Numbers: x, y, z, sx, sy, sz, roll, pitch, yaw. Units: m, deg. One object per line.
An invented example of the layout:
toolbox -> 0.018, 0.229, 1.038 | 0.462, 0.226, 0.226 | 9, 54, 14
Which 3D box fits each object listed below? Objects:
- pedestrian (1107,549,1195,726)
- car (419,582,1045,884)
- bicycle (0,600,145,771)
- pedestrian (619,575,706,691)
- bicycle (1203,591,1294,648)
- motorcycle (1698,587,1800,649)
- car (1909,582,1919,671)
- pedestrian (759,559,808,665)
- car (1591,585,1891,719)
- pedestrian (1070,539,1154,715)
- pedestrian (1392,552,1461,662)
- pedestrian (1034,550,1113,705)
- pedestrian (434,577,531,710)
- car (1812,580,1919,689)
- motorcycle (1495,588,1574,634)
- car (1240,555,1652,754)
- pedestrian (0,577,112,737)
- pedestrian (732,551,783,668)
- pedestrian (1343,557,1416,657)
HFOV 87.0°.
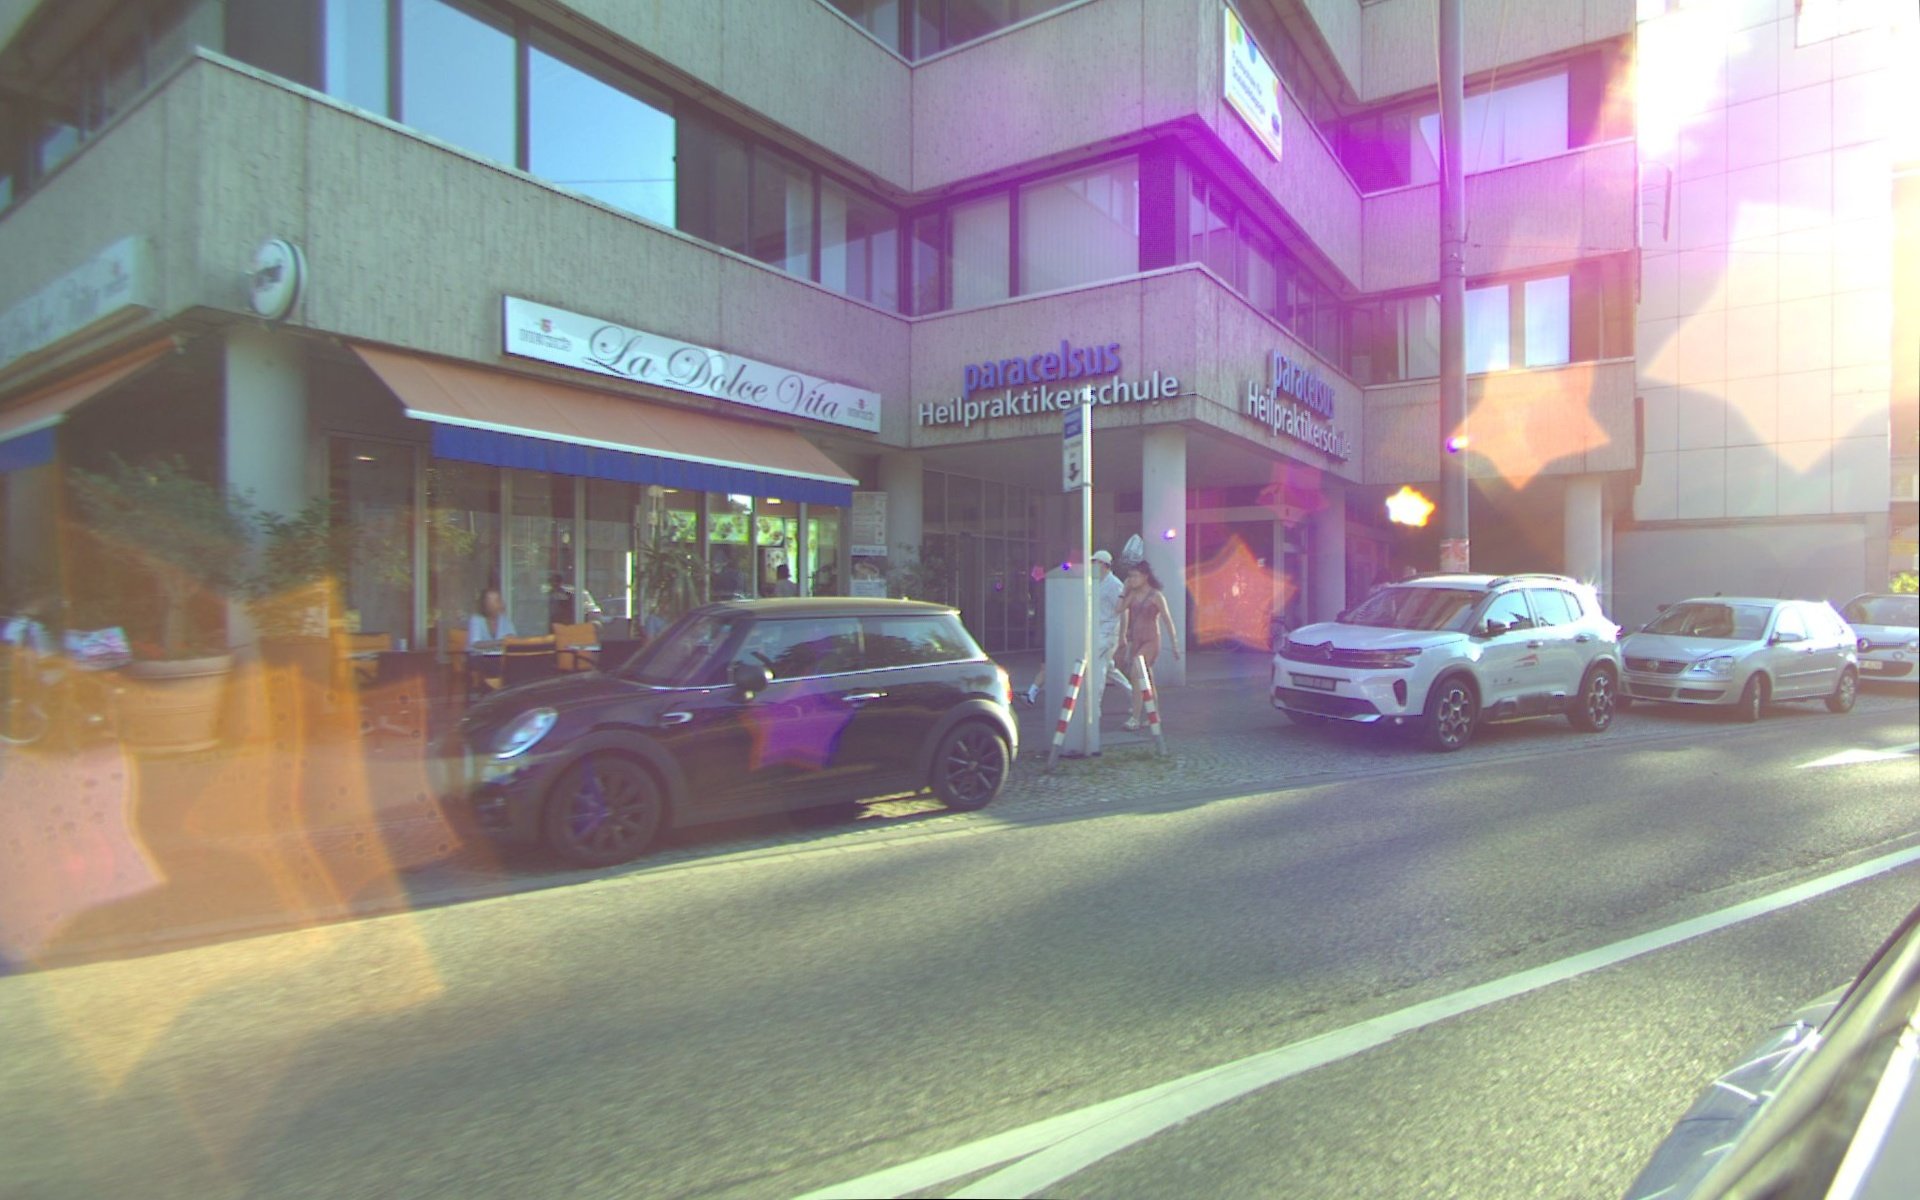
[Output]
pedestrian -> 1.987, 0.363, 10.562 | 0.648, 1.781, 0.581 | 0, 3, -28
car -> -1.435, 0.635, 6.774 | 3.749, 1.459, 1.669 | -1, 3, -33
bicycle -> -7.123, 0.612, 7.779 | 1.794, 1.133, 0.531 | 2, 2, 22
pedestrian -> -3.508, 0.357, 11.930 | 0.762, 1.297, 0.655 | 2, 2, 32
bicycle -> 5.911, 0.382, 20.751 | 1.738, 1.085, 0.480 | 2, 1, 22
motorcycle -> 18.400, 0.387, 23.639 | 0.573, 1.348, 1.786 | 0, 2, -41
car -> 19.400, 0.499, 18.491 | 4.149, 1.575, 1.790 | 0, 3, -29
pedestrian -> -2.848, 0.194, 16.339 | 0.595, 1.671, 0.514 | -2, -1, 37
car -> 10.168, 0.569, 13.151 | 3.777, 1.459, 1.670 | 0, 3, -29
pedestrian -> 1.682, 0.272, 11.245 | 0.648, 1.880, 0.625 | 0, 3, -28
pedestrian -> 7.704, 0.092, 16.699 | 1.015, 1.749, 0.698 | 0, 1, -44
pedestrian -> 1.334, 0.296, 11.968 | 0.648, 1.761, 0.625 | 0, 3, -28
pedestrian -> -4.929, 0.425, 10.457 | 0.647, 1.297, 0.655 | 1, 2, 30
car -> 15.460, 0.488, 16.256 | 3.538, 1.575, 1.615 | -1, 3, -31
motorcycle -> 15.712, 0.281, 27.735 | 0.519, 1.220, 2.024 | 0, 0, -21
car -> 5.285, 0.421, 10.867 | 4.416, 1.734, 1.875 | -1, 3, -32
pedestrian -> -7.817, 0.460, 8.719 | 0.550, 1.297, 0.645 | 2, 2, 33
pedestrian -> -3.164, 0.141, 15.807 | 0.595, 1.782, 0.514 | -2, -1, 37
pedestrian -> 7.292, 0.104, 17.613 | 0.631, 1.694, 0.990 | 0, 1, -44
